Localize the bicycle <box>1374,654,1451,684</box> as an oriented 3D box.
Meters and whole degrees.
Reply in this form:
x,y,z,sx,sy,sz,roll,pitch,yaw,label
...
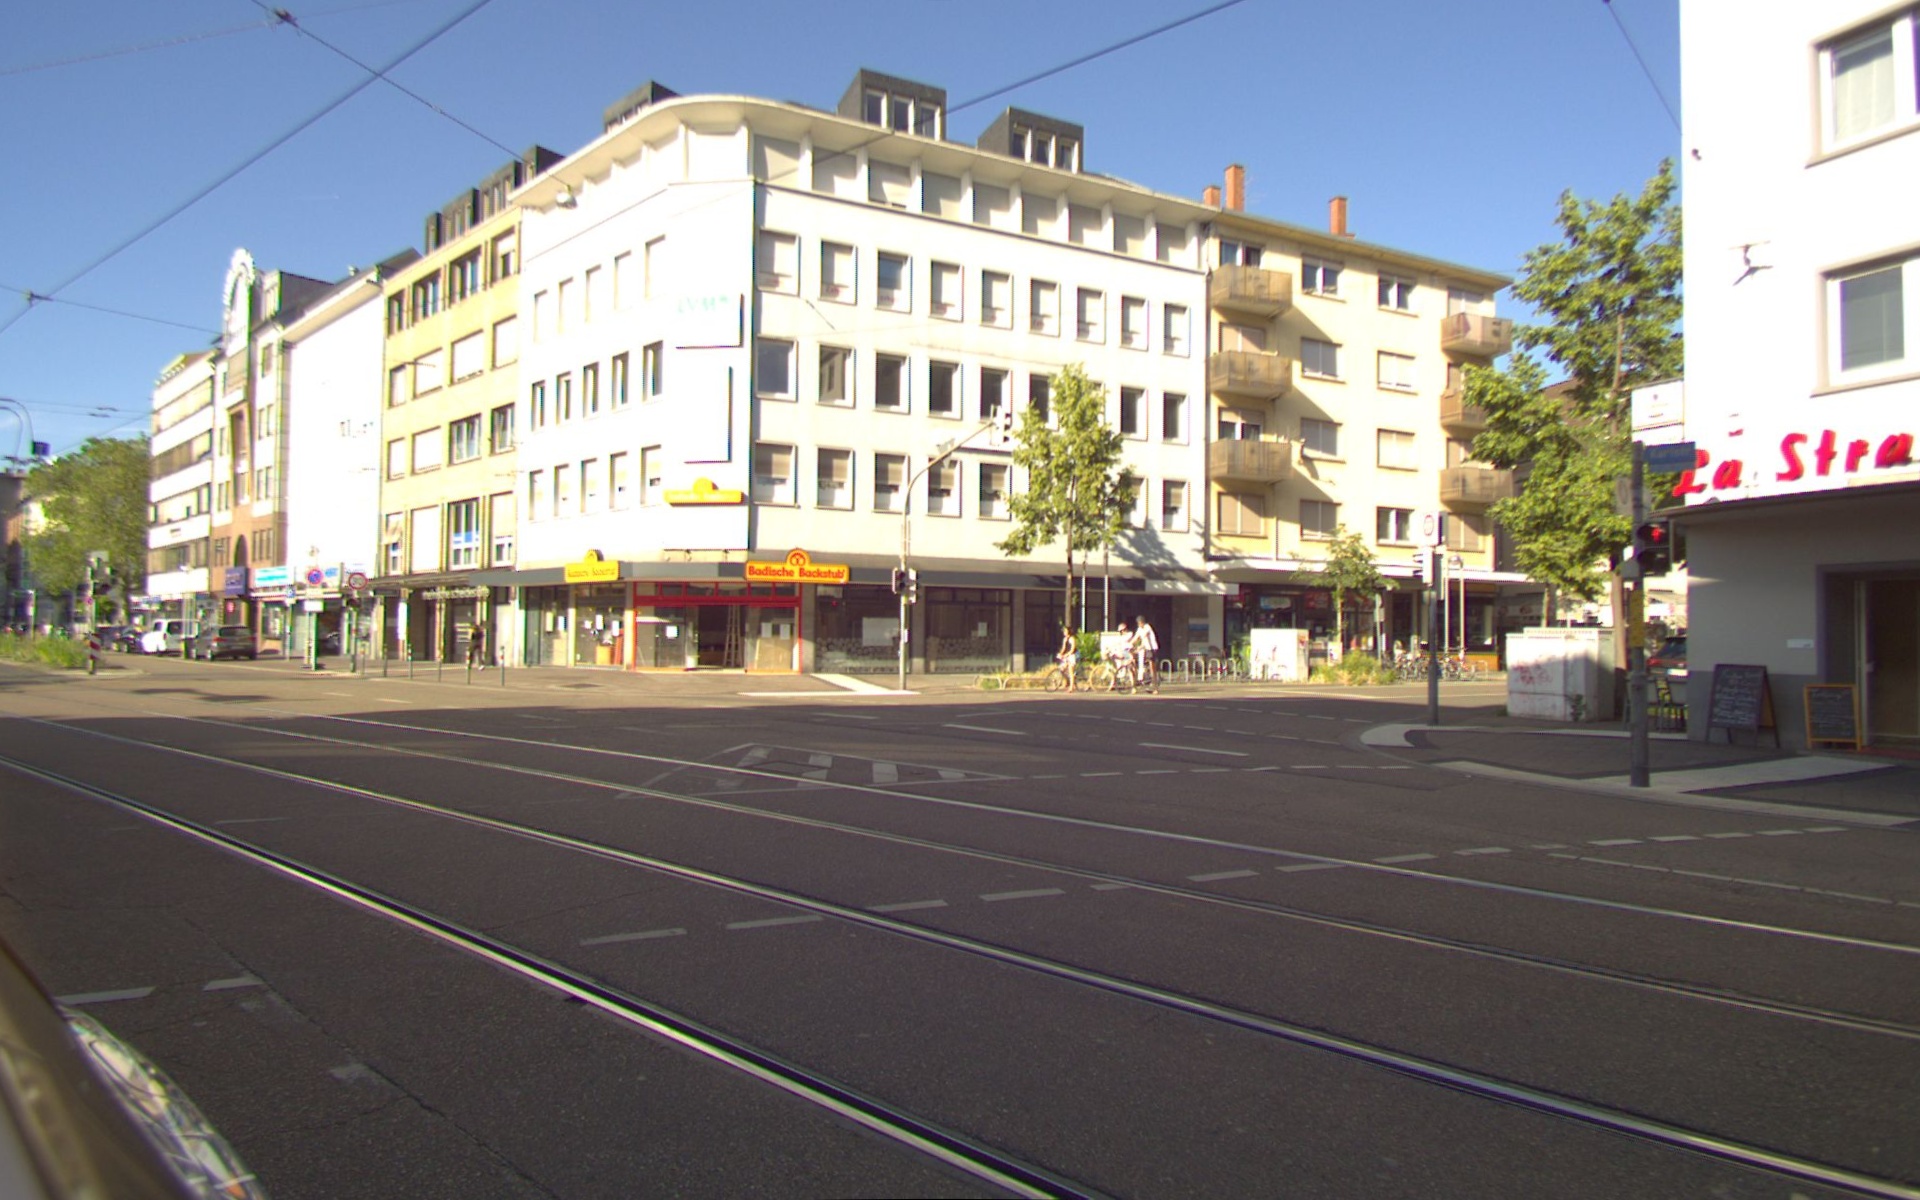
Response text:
x,y,z,sx,sy,sz,roll,pitch,yaw,label
15.336,2.330,34.353,0.536,0.966,2.410,2,-3,-37,bicycle

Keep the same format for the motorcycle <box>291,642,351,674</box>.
x,y,z,sx,sy,sz,roll,pitch,yaw,label
-31.178,2.820,49.401,0.999,1.517,2.226,-2,-3,38,motorcycle

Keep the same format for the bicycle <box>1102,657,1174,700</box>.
x,y,z,sx,sy,sz,roll,pitch,yaw,label
4.362,1.916,24.792,1.697,1.015,0.762,2,-6,-37,bicycle

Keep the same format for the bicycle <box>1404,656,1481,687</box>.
x,y,z,sx,sy,sz,roll,pitch,yaw,label
16.560,2.447,34.805,0.645,0.985,2.403,2,-3,-35,bicycle

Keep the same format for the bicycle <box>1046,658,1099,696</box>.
x,y,z,sx,sy,sz,roll,pitch,yaw,label
2.916,1.978,26.138,1.432,0.963,0.482,2,-3,-39,bicycle

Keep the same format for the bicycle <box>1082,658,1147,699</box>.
x,y,z,sx,sy,sz,roll,pitch,yaw,label
3.902,1.964,25.485,1.765,0.975,0.555,2,-3,-37,bicycle

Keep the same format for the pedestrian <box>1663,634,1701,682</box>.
x,y,z,sx,sy,sz,roll,pitch,yaw,label
31.444,2.516,44.076,1.072,2.029,0.956,2,-6,-38,pedestrian

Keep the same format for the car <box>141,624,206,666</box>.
x,y,z,sx,sy,sz,roll,pitch,yaw,label
-40.408,2.284,51.986,4.844,2.029,1.971,-2,-3,44,car

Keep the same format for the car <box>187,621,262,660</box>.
x,y,z,sx,sy,sz,roll,pitch,yaw,label
-33.999,1.876,46.753,3.998,1.719,1.972,-2,-3,41,car

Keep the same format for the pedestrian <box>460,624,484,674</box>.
x,y,z,sx,sy,sz,roll,pitch,yaw,label
-16.879,1.686,34.995,0.700,1.722,0.562,2,-3,-27,pedestrian

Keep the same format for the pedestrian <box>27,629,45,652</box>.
x,y,z,sx,sy,sz,roll,pitch,yaw,label
-64.544,2.829,70.723,0.571,1.637,0.707,1,-2,-5,pedestrian

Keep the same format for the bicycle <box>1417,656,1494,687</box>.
x,y,z,sx,sy,sz,roll,pitch,yaw,label
17.245,2.467,35.277,0.645,1.013,2.410,2,-3,-35,bicycle

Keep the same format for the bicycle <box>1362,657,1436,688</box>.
x,y,z,sx,sy,sz,roll,pitch,yaw,label
14.716,2.427,33.991,0.645,0.966,2.232,2,-3,-37,bicycle

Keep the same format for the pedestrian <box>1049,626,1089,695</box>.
x,y,z,sx,sy,sz,roll,pitch,yaw,label
2.790,1.545,25.920,0.644,1.725,0.794,2,-2,-39,pedestrian

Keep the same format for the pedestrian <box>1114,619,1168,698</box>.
x,y,z,sx,sy,sz,roll,pitch,yaw,label
4.423,1.441,24.785,0.985,1.881,0.782,2,-5,-39,pedestrian

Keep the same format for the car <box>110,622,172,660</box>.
x,y,z,sx,sy,sz,roll,pitch,yaw,label
-44.889,2.241,55.462,3.998,2.029,1.972,-2,-3,41,car

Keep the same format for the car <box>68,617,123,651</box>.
x,y,z,sx,sy,sz,roll,pitch,yaw,label
-53.560,2.133,62.684,3.998,2.029,1.972,-2,-3,41,car

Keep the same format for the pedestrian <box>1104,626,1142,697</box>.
x,y,z,sx,sy,sz,roll,pitch,yaw,label
4.122,1.537,25.568,0.550,1.741,0.782,2,-2,-39,pedestrian

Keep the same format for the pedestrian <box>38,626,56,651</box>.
x,y,z,sx,sy,sz,roll,pitch,yaw,label
-63.852,2.677,70.746,0.571,1.728,0.707,1,-2,-5,pedestrian

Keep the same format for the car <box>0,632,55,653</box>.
x,y,z,sx,sy,sz,roll,pitch,yaw,label
-81.925,3.697,88.461,1.999,1.811,3.944,-2,-3,42,car
